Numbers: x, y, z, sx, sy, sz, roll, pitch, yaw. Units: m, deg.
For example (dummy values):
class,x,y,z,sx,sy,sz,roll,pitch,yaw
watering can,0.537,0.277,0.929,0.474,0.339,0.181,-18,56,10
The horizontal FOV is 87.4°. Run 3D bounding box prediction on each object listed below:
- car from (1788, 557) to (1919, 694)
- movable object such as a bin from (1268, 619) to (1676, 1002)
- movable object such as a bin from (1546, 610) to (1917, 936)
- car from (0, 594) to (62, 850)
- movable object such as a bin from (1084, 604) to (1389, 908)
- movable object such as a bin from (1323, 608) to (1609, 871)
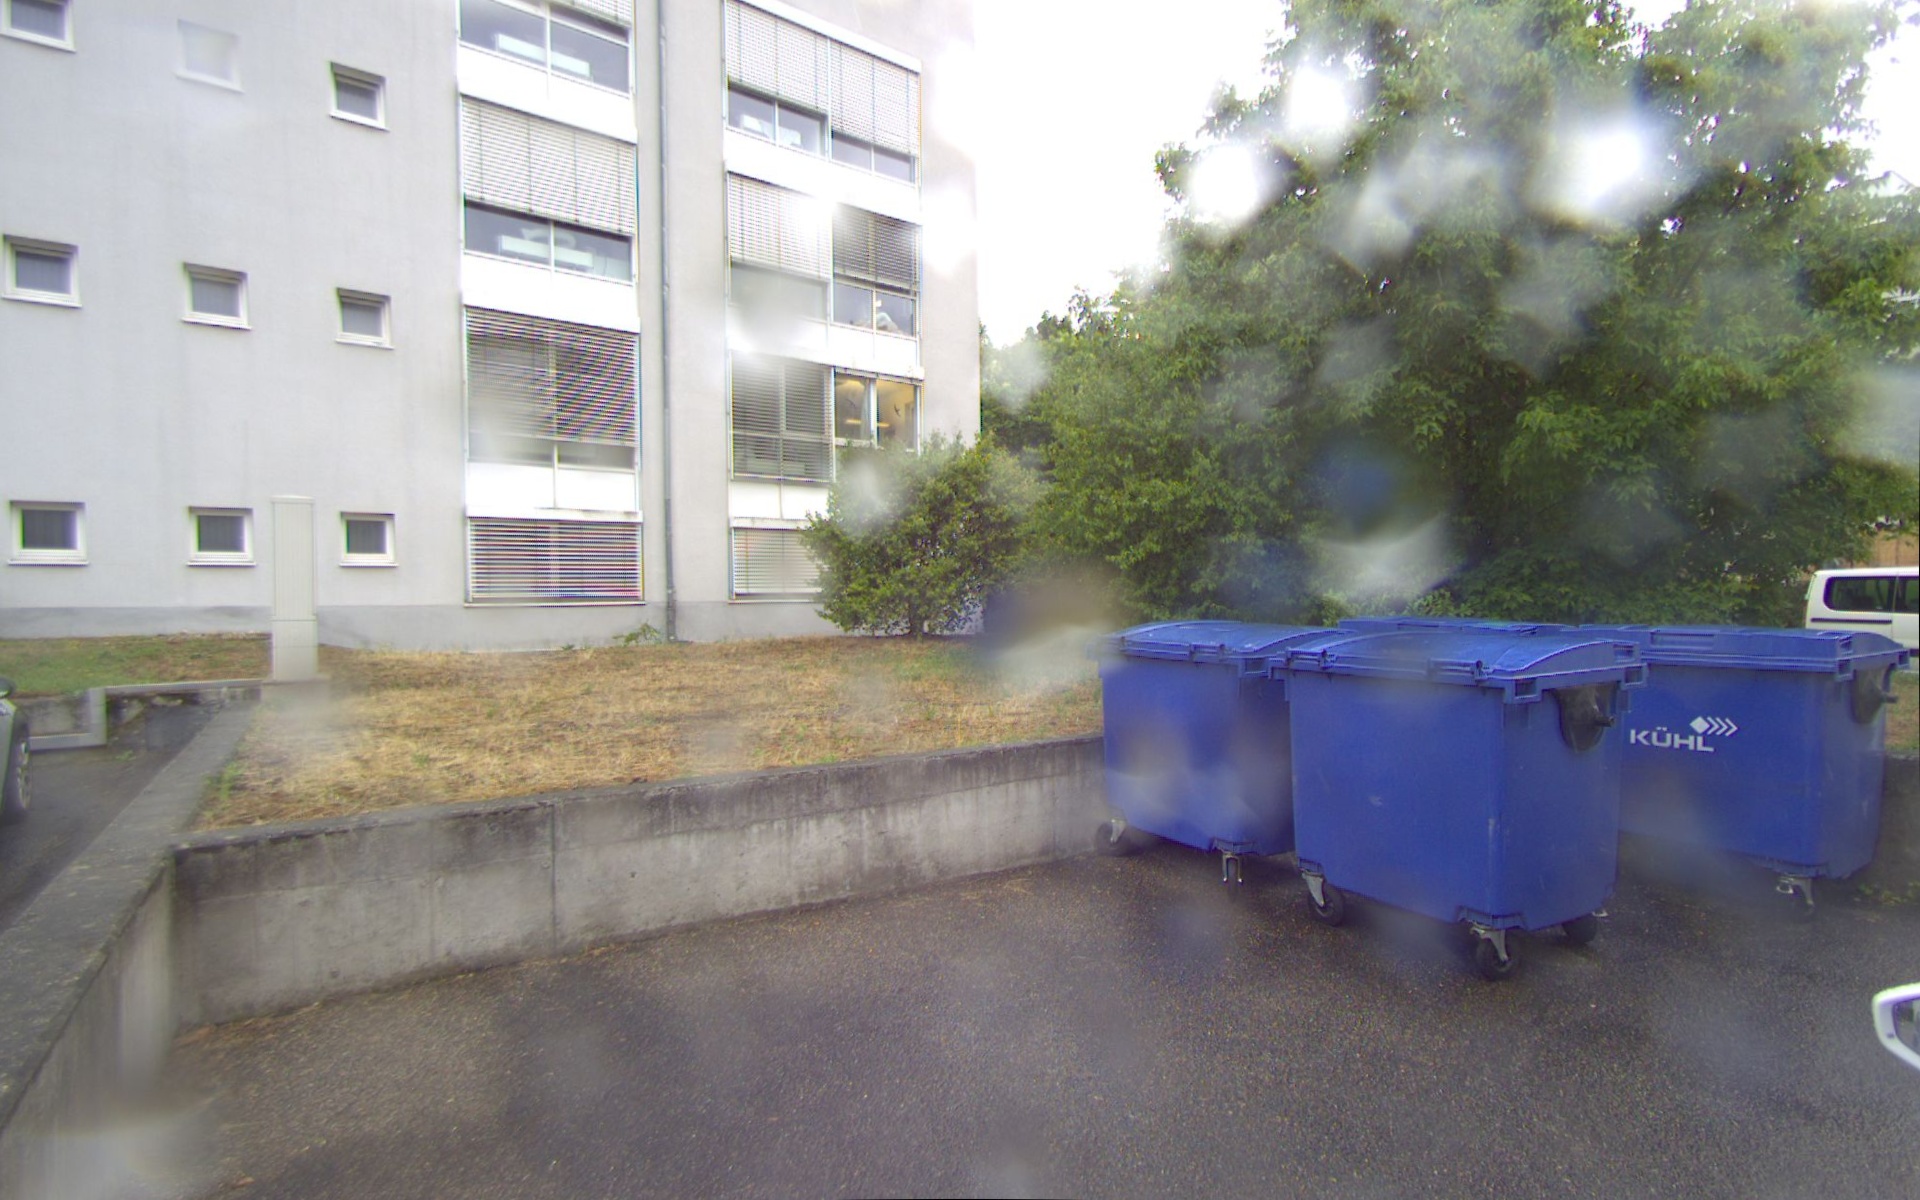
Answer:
class,x,y,z,sx,sy,sz,roll,pitch,yaw
car,15.625,0.352,14.908,1.977,2.040,4.756,-1,0,-31
movable object such as a bin,2.202,0.778,4.428,1.103,1.355,1.198,0,0,-28
movable object such as a bin,3.835,0.742,5.051,0.995,1.355,1.215,-1,1,-32
car,-6.275,0.740,5.295,1.804,1.351,4.136,-2,3,-36
movable object such as a bin,1.494,0.744,5.537,1.104,1.355,1.196,-3,3,-32
movable object such as a bin,3.046,0.746,6.111,0.995,1.355,1.215,-2,1,-32
